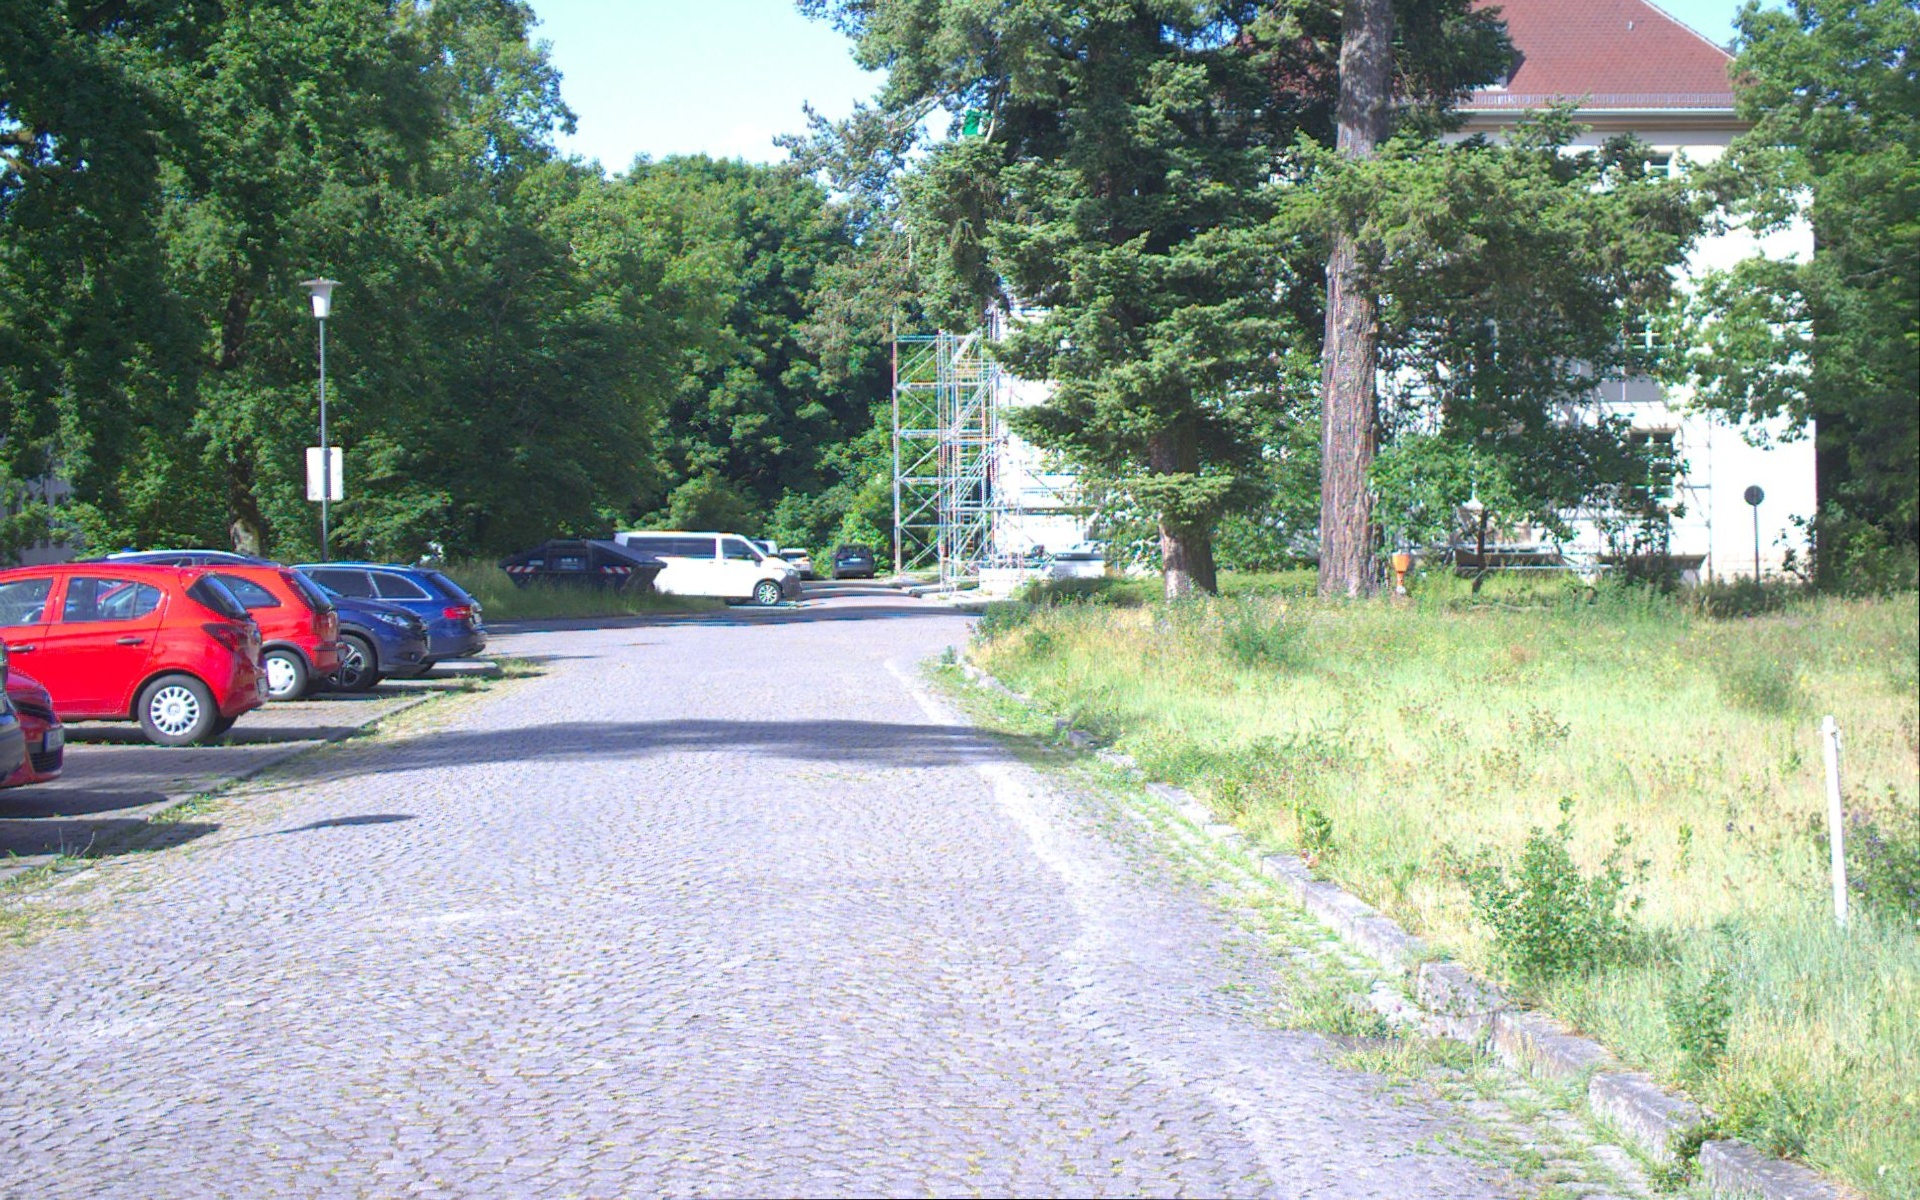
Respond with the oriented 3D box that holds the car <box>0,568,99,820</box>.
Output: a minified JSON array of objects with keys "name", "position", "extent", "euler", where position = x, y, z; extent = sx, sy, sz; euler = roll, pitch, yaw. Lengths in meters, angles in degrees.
[{"name":"car","position":[-7.449,0.522,21.107],"extent":[3.922,1.444,1.867],"euler":[1,1,-4]}]

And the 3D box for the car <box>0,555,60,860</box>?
[{"name":"car","position":[-7.020,0.530,18.390],"extent":[3.952,1.562,1.974],"euler":[1,2,-4]}]

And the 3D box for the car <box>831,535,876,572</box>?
[{"name":"car","position":[-4.932,-2.147,159.087],"extent":[1.971,1.662,4.087],"euler":[-1,1,-3]}]

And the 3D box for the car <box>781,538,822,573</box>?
[{"name":"car","position":[-7.318,-2.050,158.686],"extent":[1.812,1.574,4.135],"euler":[-1,1,-3]}]

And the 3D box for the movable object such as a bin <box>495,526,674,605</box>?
[{"name":"movable object such as a bin","position":[-8.665,-0.801,79.448],"extent":[3.568,1.738,2.023],"euler":[-1,1,16]}]

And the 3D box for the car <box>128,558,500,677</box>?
[{"name":"car","position":[-8.152,0.204,43.660],"extent":[4.359,1.440,1.921],"euler":[0,1,0]}]

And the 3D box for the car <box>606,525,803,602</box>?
[{"name":"car","position":[-6.864,-0.990,92.633],"extent":[5.234,2.009,1.950],"euler":[0,1,-3]}]

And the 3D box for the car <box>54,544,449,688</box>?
[{"name":"car","position":[-7.970,0.159,38.978],"extent":[4.134,1.574,1.885],"euler":[0,1,-3]}]

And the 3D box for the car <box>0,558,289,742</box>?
[{"name":"car","position":[-7.699,0.391,28.698],"extent":[3.922,1.456,1.842],"euler":[0,1,-4]}]

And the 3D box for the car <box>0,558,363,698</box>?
[{"name":"car","position":[-8.460,0.276,36.597],"extent":[3.923,1.428,1.842],"euler":[0,1,-1]}]
